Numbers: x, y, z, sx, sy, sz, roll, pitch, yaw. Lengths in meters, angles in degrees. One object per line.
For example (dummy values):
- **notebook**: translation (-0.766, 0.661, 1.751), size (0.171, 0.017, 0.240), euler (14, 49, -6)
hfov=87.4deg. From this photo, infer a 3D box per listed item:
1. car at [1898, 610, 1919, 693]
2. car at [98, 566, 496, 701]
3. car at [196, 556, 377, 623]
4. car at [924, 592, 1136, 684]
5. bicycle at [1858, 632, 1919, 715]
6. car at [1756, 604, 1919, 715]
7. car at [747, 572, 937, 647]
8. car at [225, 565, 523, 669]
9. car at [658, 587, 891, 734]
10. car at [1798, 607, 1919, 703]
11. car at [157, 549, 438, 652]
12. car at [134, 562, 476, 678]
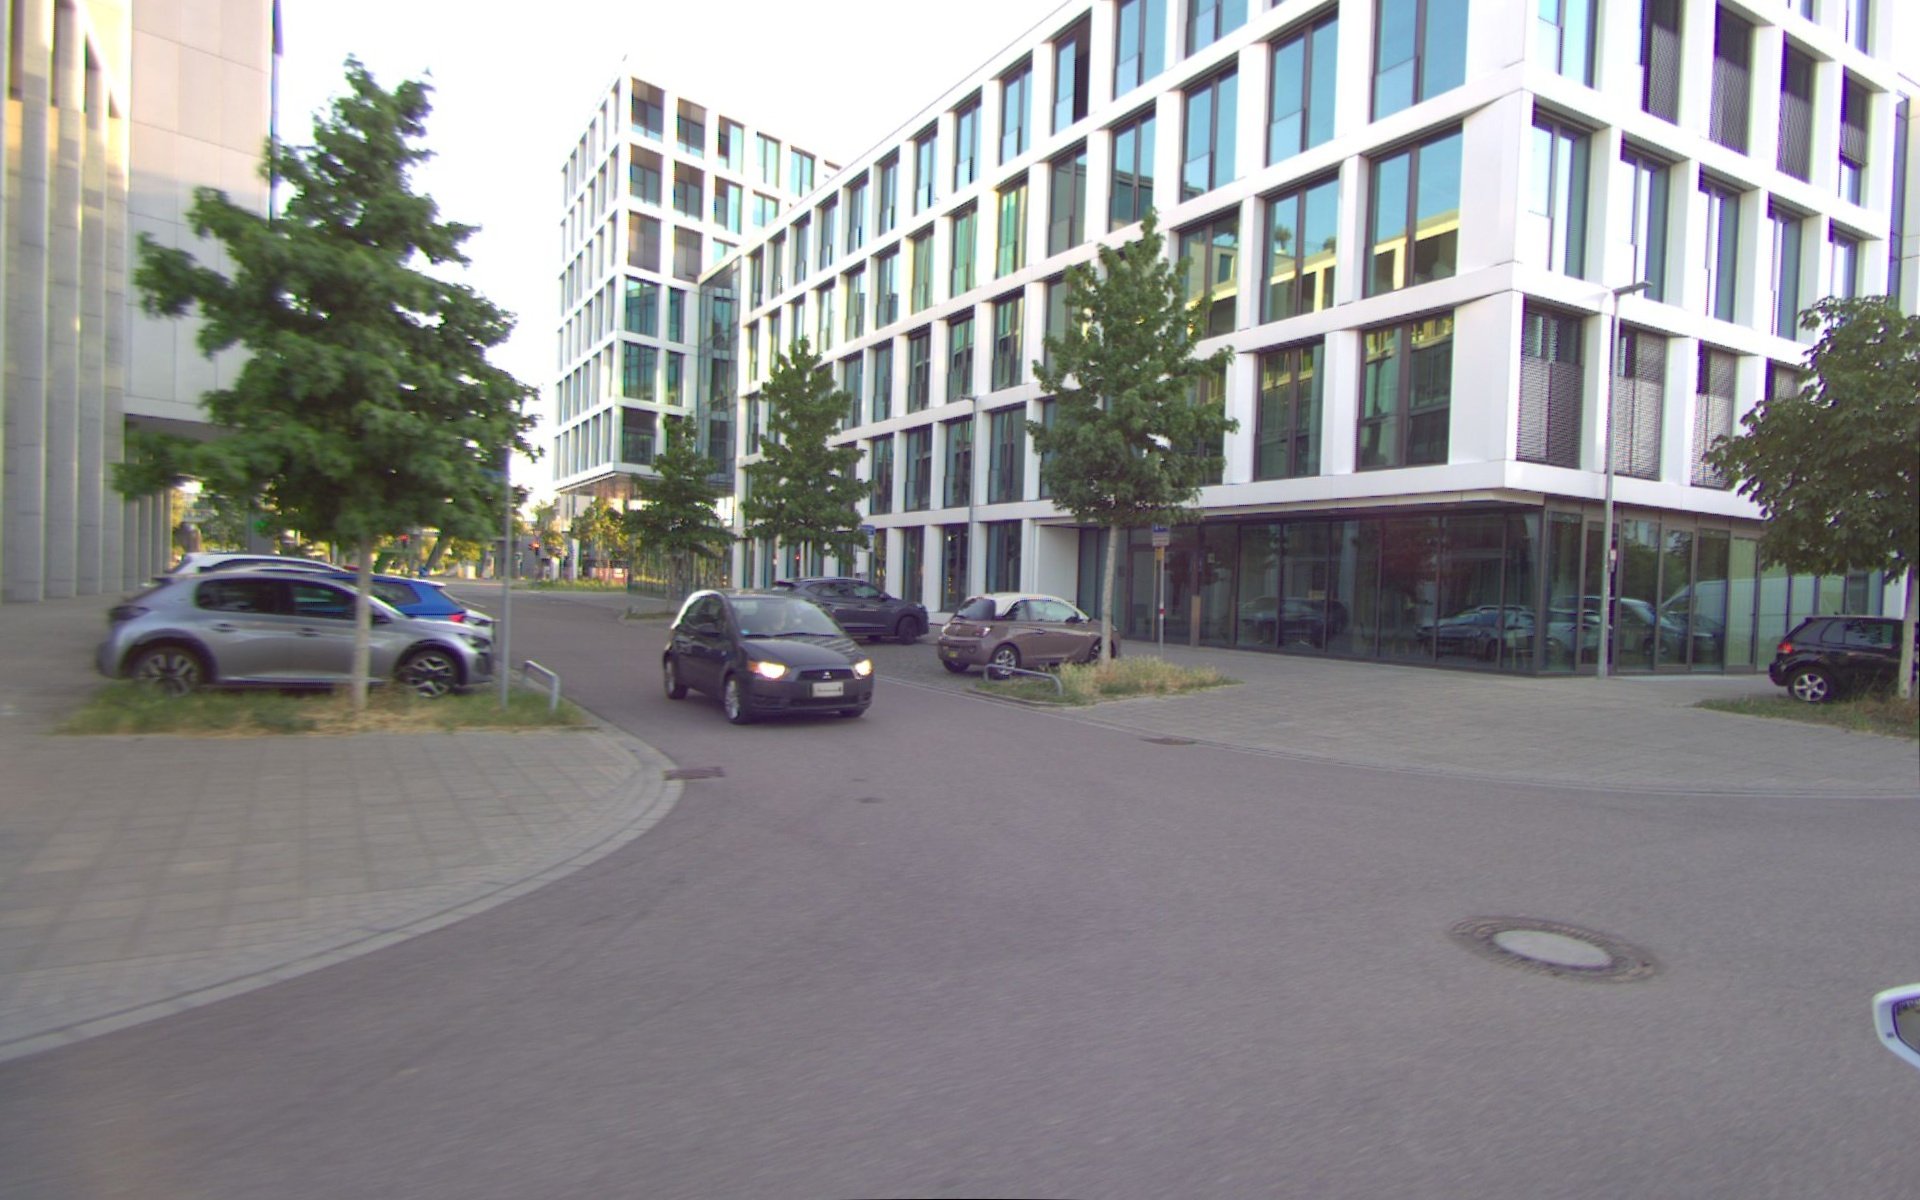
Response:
- **car**: translation (19.567, 1.065, 17.671), size (1.759, 1.539, 4.090), euler (1, 2, -28)
- **car**: translation (-7.892, 0.414, 12.261), size (3.782, 1.404, 1.633), euler (3, 0, -36)
- **car**: translation (-17.771, -0.269, 26.620), size (3.821, 1.525, 1.633), euler (3, 0, -36)
- **car**: translation (1.353, 0.680, 18.902), size (3.685, 1.516, 1.714), euler (2, 1, -34)
- **bicycle**: translation (13.425, 1.044, 13.648), size (0.559, 1.080, 1.689), euler (1, 2, -27)
- **car**: translation (14.914, 0.938, 15.191), size (1.823, 1.539, 4.088), euler (1, 2, -30)
- **car**: translation (-2.876, 0.249, 24.792), size (4.327, 1.674, 1.714), euler (2, 1, -34)
- **car**: translation (-9.684, 0.318, 16.782), size (4.097, 1.511, 1.633), euler (3, 0, -36)
- **car**: translation (-2.487, 0.642, 12.741), size (1.631, 1.515, 3.703), euler (1, 1, -32)
- **car**: translation (17.079, 0.995, 16.954), size (1.822, 1.539, 4.090), euler (1, 2, -28)
- **car**: translation (-12.060, 0.045, 18.502), size (4.097, 1.650, 1.633), euler (3, 0, -36)
- **car**: translation (-9.216, 0.312, 14.379), size (3.867, 1.447, 1.546), euler (3, 0, -36)
